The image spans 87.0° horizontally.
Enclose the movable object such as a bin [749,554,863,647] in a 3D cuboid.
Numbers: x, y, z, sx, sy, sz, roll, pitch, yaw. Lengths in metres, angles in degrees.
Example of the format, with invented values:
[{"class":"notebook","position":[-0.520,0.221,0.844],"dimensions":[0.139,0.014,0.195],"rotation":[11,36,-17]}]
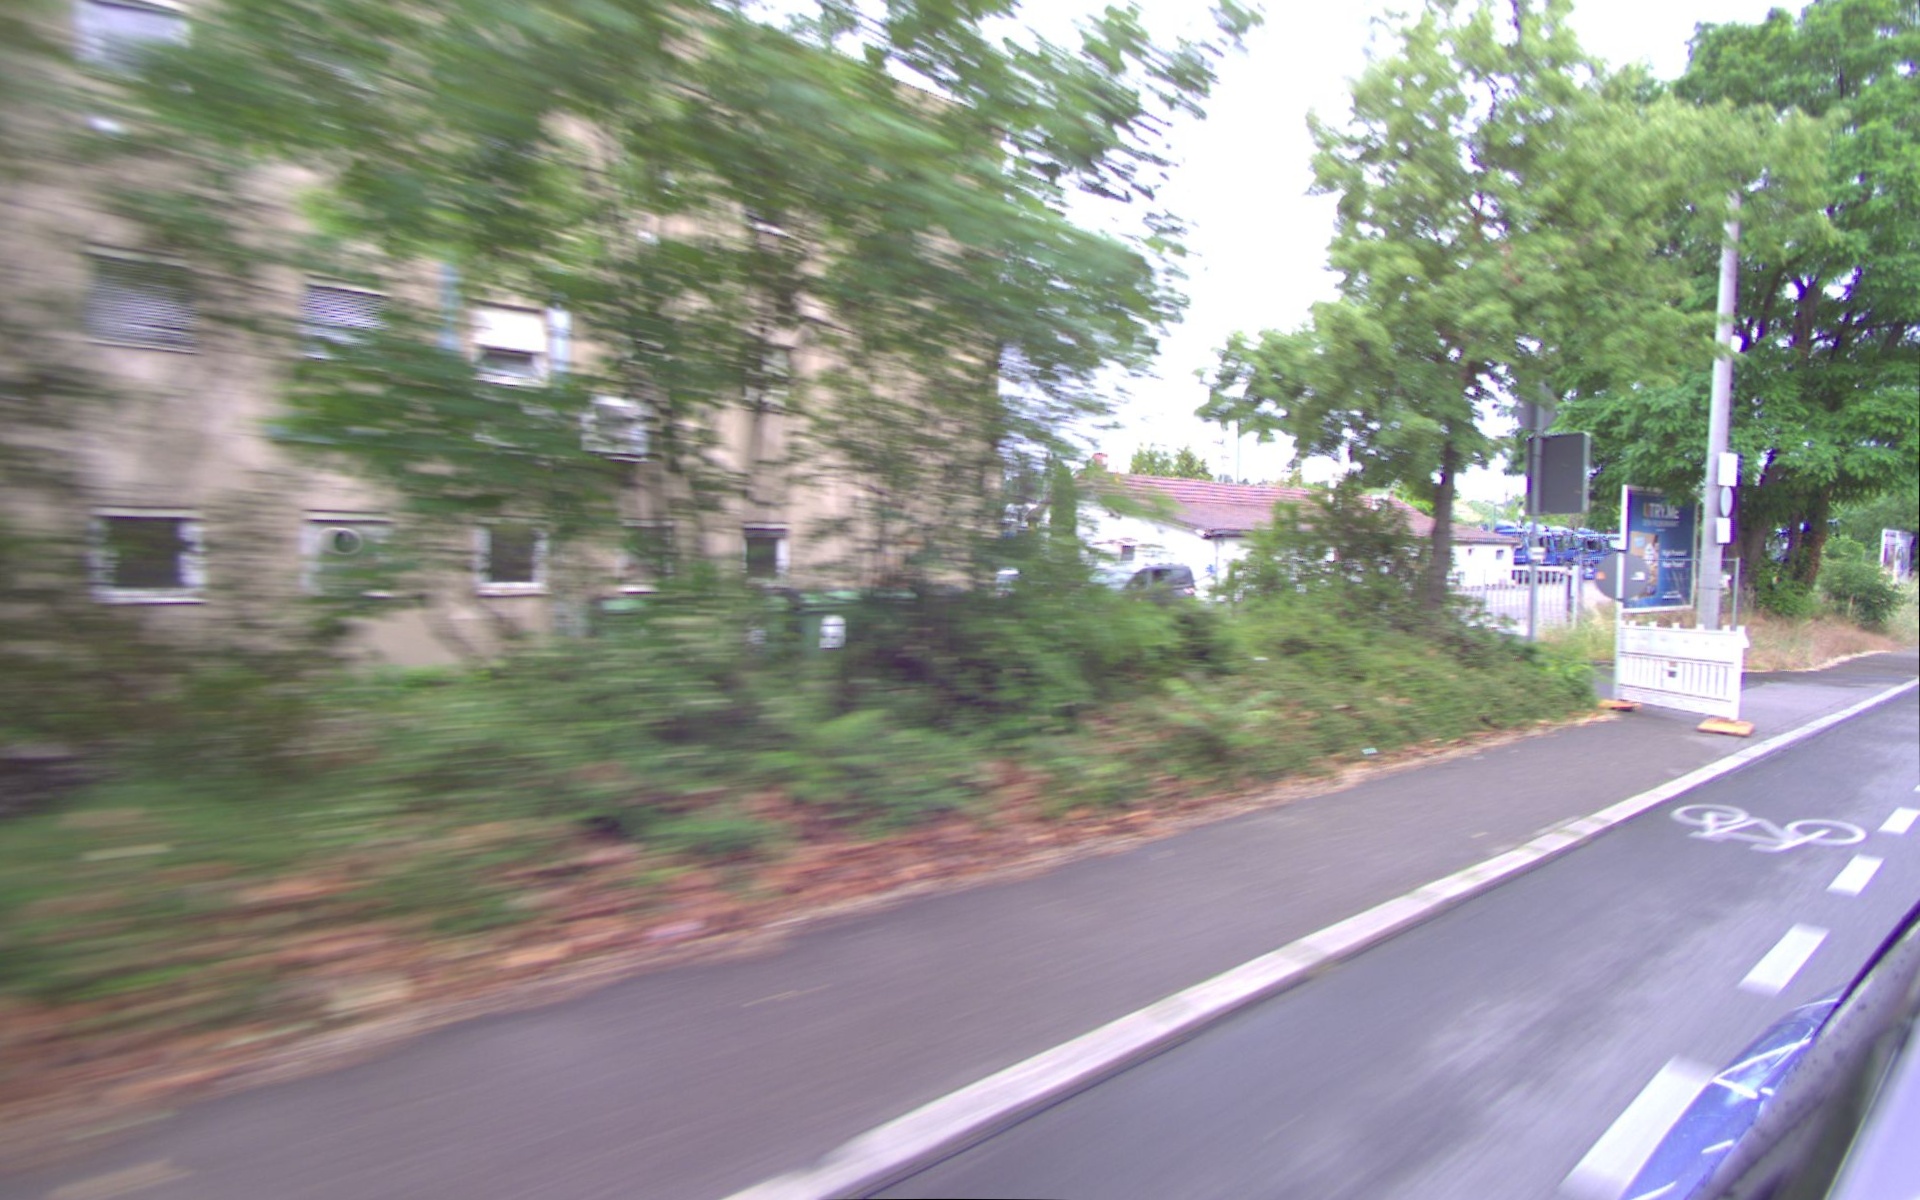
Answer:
[{"class":"movable object such as a bin","position":[-2.565,-0.012,16.816],"dimensions":[1.393,1.433,1.308],"rotation":[0,2,-39]}]

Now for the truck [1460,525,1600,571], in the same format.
[{"class":"truck","position":[38.158,-3.516,67.996],"dimensions":[2.543,2.890,7.723],"rotation":[-2,4,-42]}]

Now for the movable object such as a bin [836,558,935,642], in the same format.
[{"class":"movable object such as a bin","position":[-1.355,-0.019,18.364],"dimensions":[1.307,1.433,1.216],"rotation":[0,2,-39]}]

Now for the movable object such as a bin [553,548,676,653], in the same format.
[{"class":"movable object such as a bin","position":[-5.044,-0.017,14.761],"dimensions":[1.332,1.433,1.275],"rotation":[0,2,-39]}]

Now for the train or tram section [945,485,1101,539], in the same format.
[{"class":"train or tram section","position":[5.747,-7.390,87.343],"dimensions":[15.614,3.869,3.285],"rotation":[-1,1,-40]}]

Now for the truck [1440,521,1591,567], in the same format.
[{"class":"truck","position":[35.406,-3.577,64.801],"dimensions":[2.543,2.771,8.018],"rotation":[-2,4,-42]}]

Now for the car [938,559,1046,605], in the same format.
[{"class":"car","position":[1.187,-0.682,35.988],"dimensions":[3.931,1.480,1.430],"rotation":[-2,4,-41]}]

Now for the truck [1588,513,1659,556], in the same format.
[{"class":"truck","position":[53.593,-5.201,81.591],"dimensions":[9.475,3.235,2.255],"rotation":[-2,2,-41]}]

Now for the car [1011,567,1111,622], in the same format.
[{"class":"car","position":[3.103,-0.212,30.928],"dimensions":[2.965,1.548,1.417],"rotation":[-2,4,-41]}]

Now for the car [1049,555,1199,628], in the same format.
[{"class":"car","position":[4.781,-0.321,29.123],"dimensions":[4.574,1.881,1.785],"rotation":[-2,4,-41]}]

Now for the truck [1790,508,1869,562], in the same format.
[{"class":"truck","position":[48.436,-3.565,56.329],"dimensions":[5.947,2.684,2.288],"rotation":[-2,-2,-40]}]

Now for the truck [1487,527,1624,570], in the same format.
[{"class":"truck","position":[41.121,-3.596,70.099],"dimensions":[2.543,2.849,7.750],"rotation":[-2,4,-42]}]

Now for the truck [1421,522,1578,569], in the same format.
[{"class":"truck","position":[32.891,-3.362,61.997],"dimensions":[2.543,2.686,8.104],"rotation":[-2,4,-42]}]

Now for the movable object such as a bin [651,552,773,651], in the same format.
[{"class":"movable object such as a bin","position":[-3.859,-0.002,15.744],"dimensions":[1.405,1.433,1.308],"rotation":[0,2,-39]}]

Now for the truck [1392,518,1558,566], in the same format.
[{"class":"truck","position":[30.021,-3.398,59.351],"dimensions":[2.543,2.648,8.311],"rotation":[-2,4,-42]}]
